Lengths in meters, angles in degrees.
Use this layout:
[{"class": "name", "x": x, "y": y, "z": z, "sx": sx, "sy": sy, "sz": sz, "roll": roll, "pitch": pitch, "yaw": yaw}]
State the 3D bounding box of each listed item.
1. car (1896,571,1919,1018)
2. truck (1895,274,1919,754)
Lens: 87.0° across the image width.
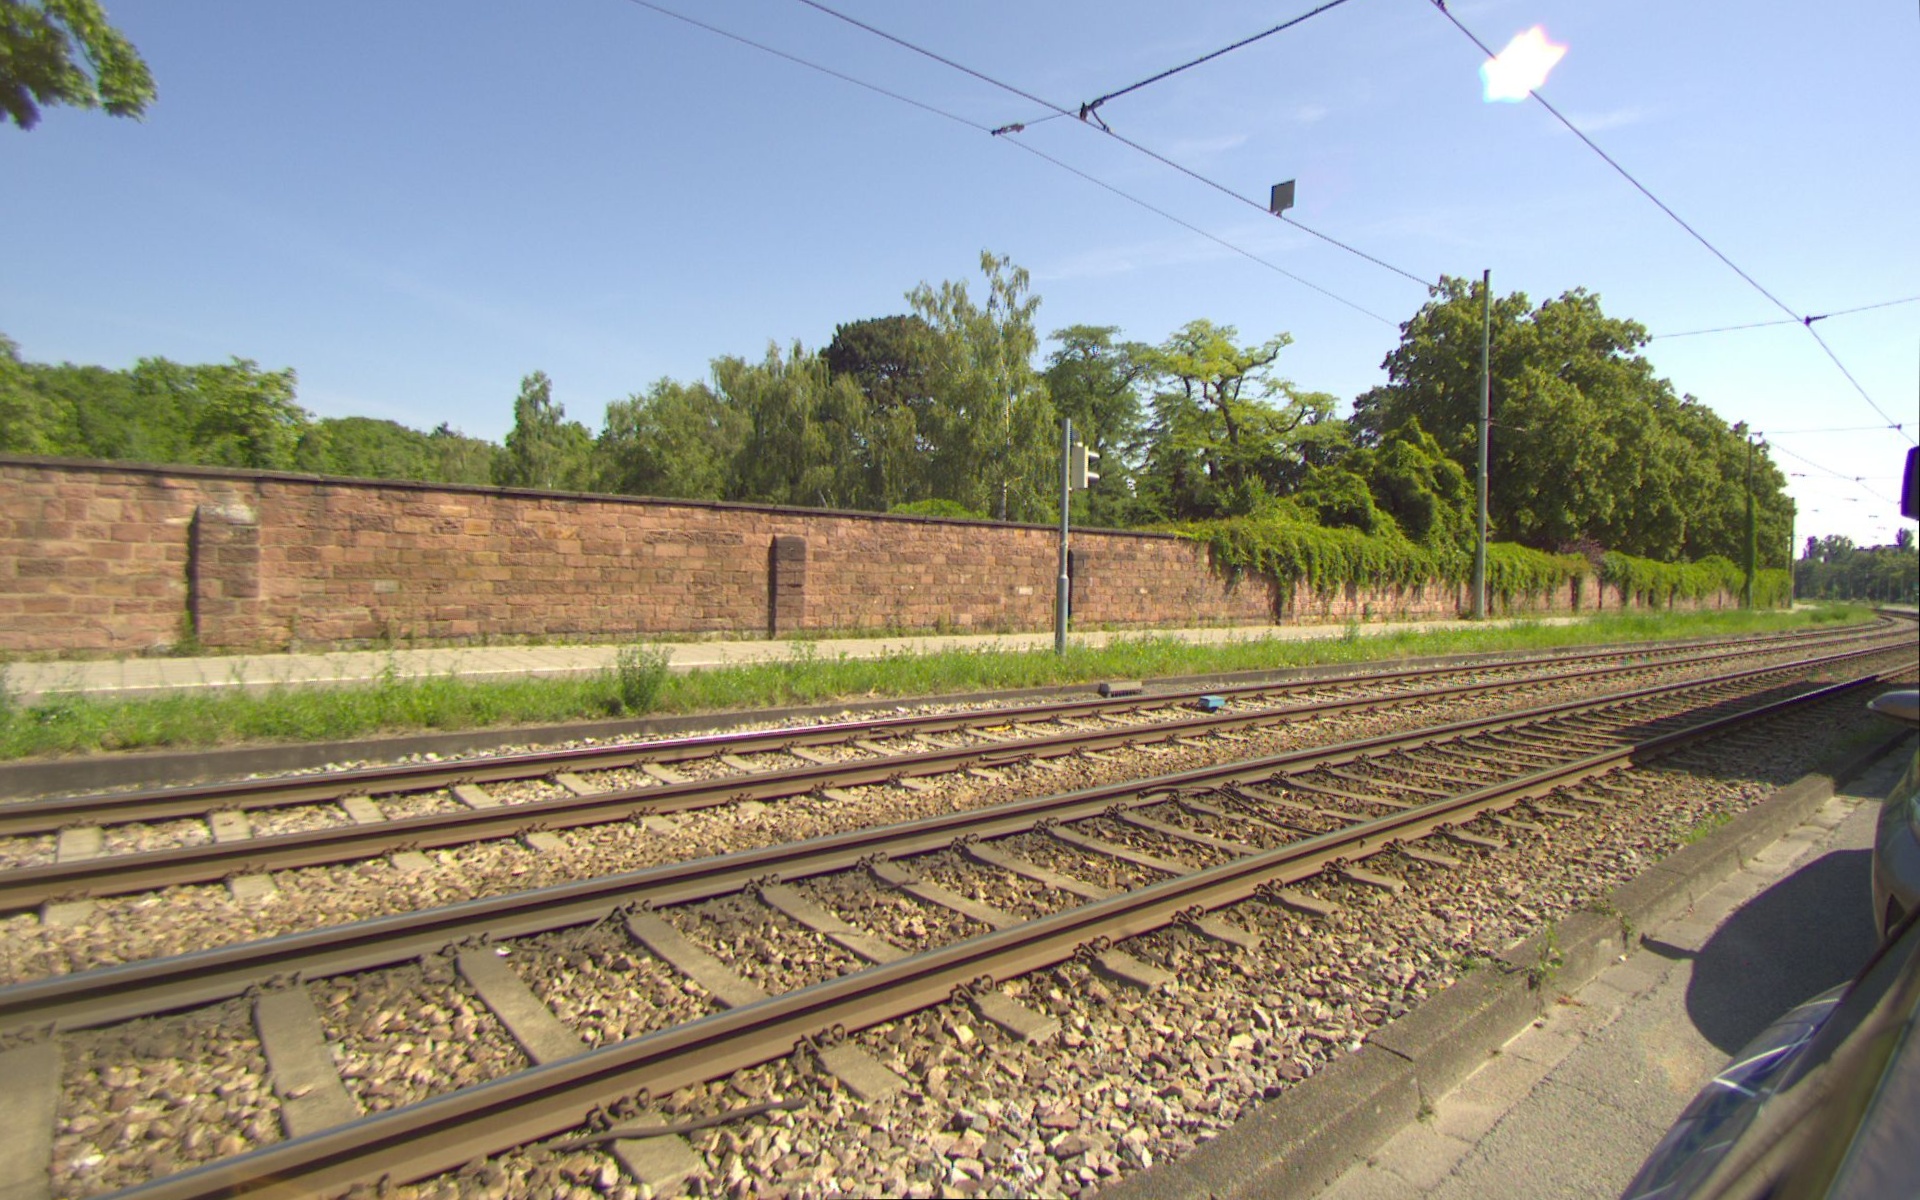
[{"class": "car", "x": 5.086, "y": 0.662, "z": 4.003, "sx": 3.930, "sy": 1.448, "sz": 1.573, "roll": 0, "pitch": 2, "yaw": -41}, {"class": "truck", "x": 14.280, "y": -0.657, "z": 12.041, "sx": 14.652, "sy": 3.927, "sz": 2.934, "roll": 0, "pitch": 2, "yaw": -41}]
